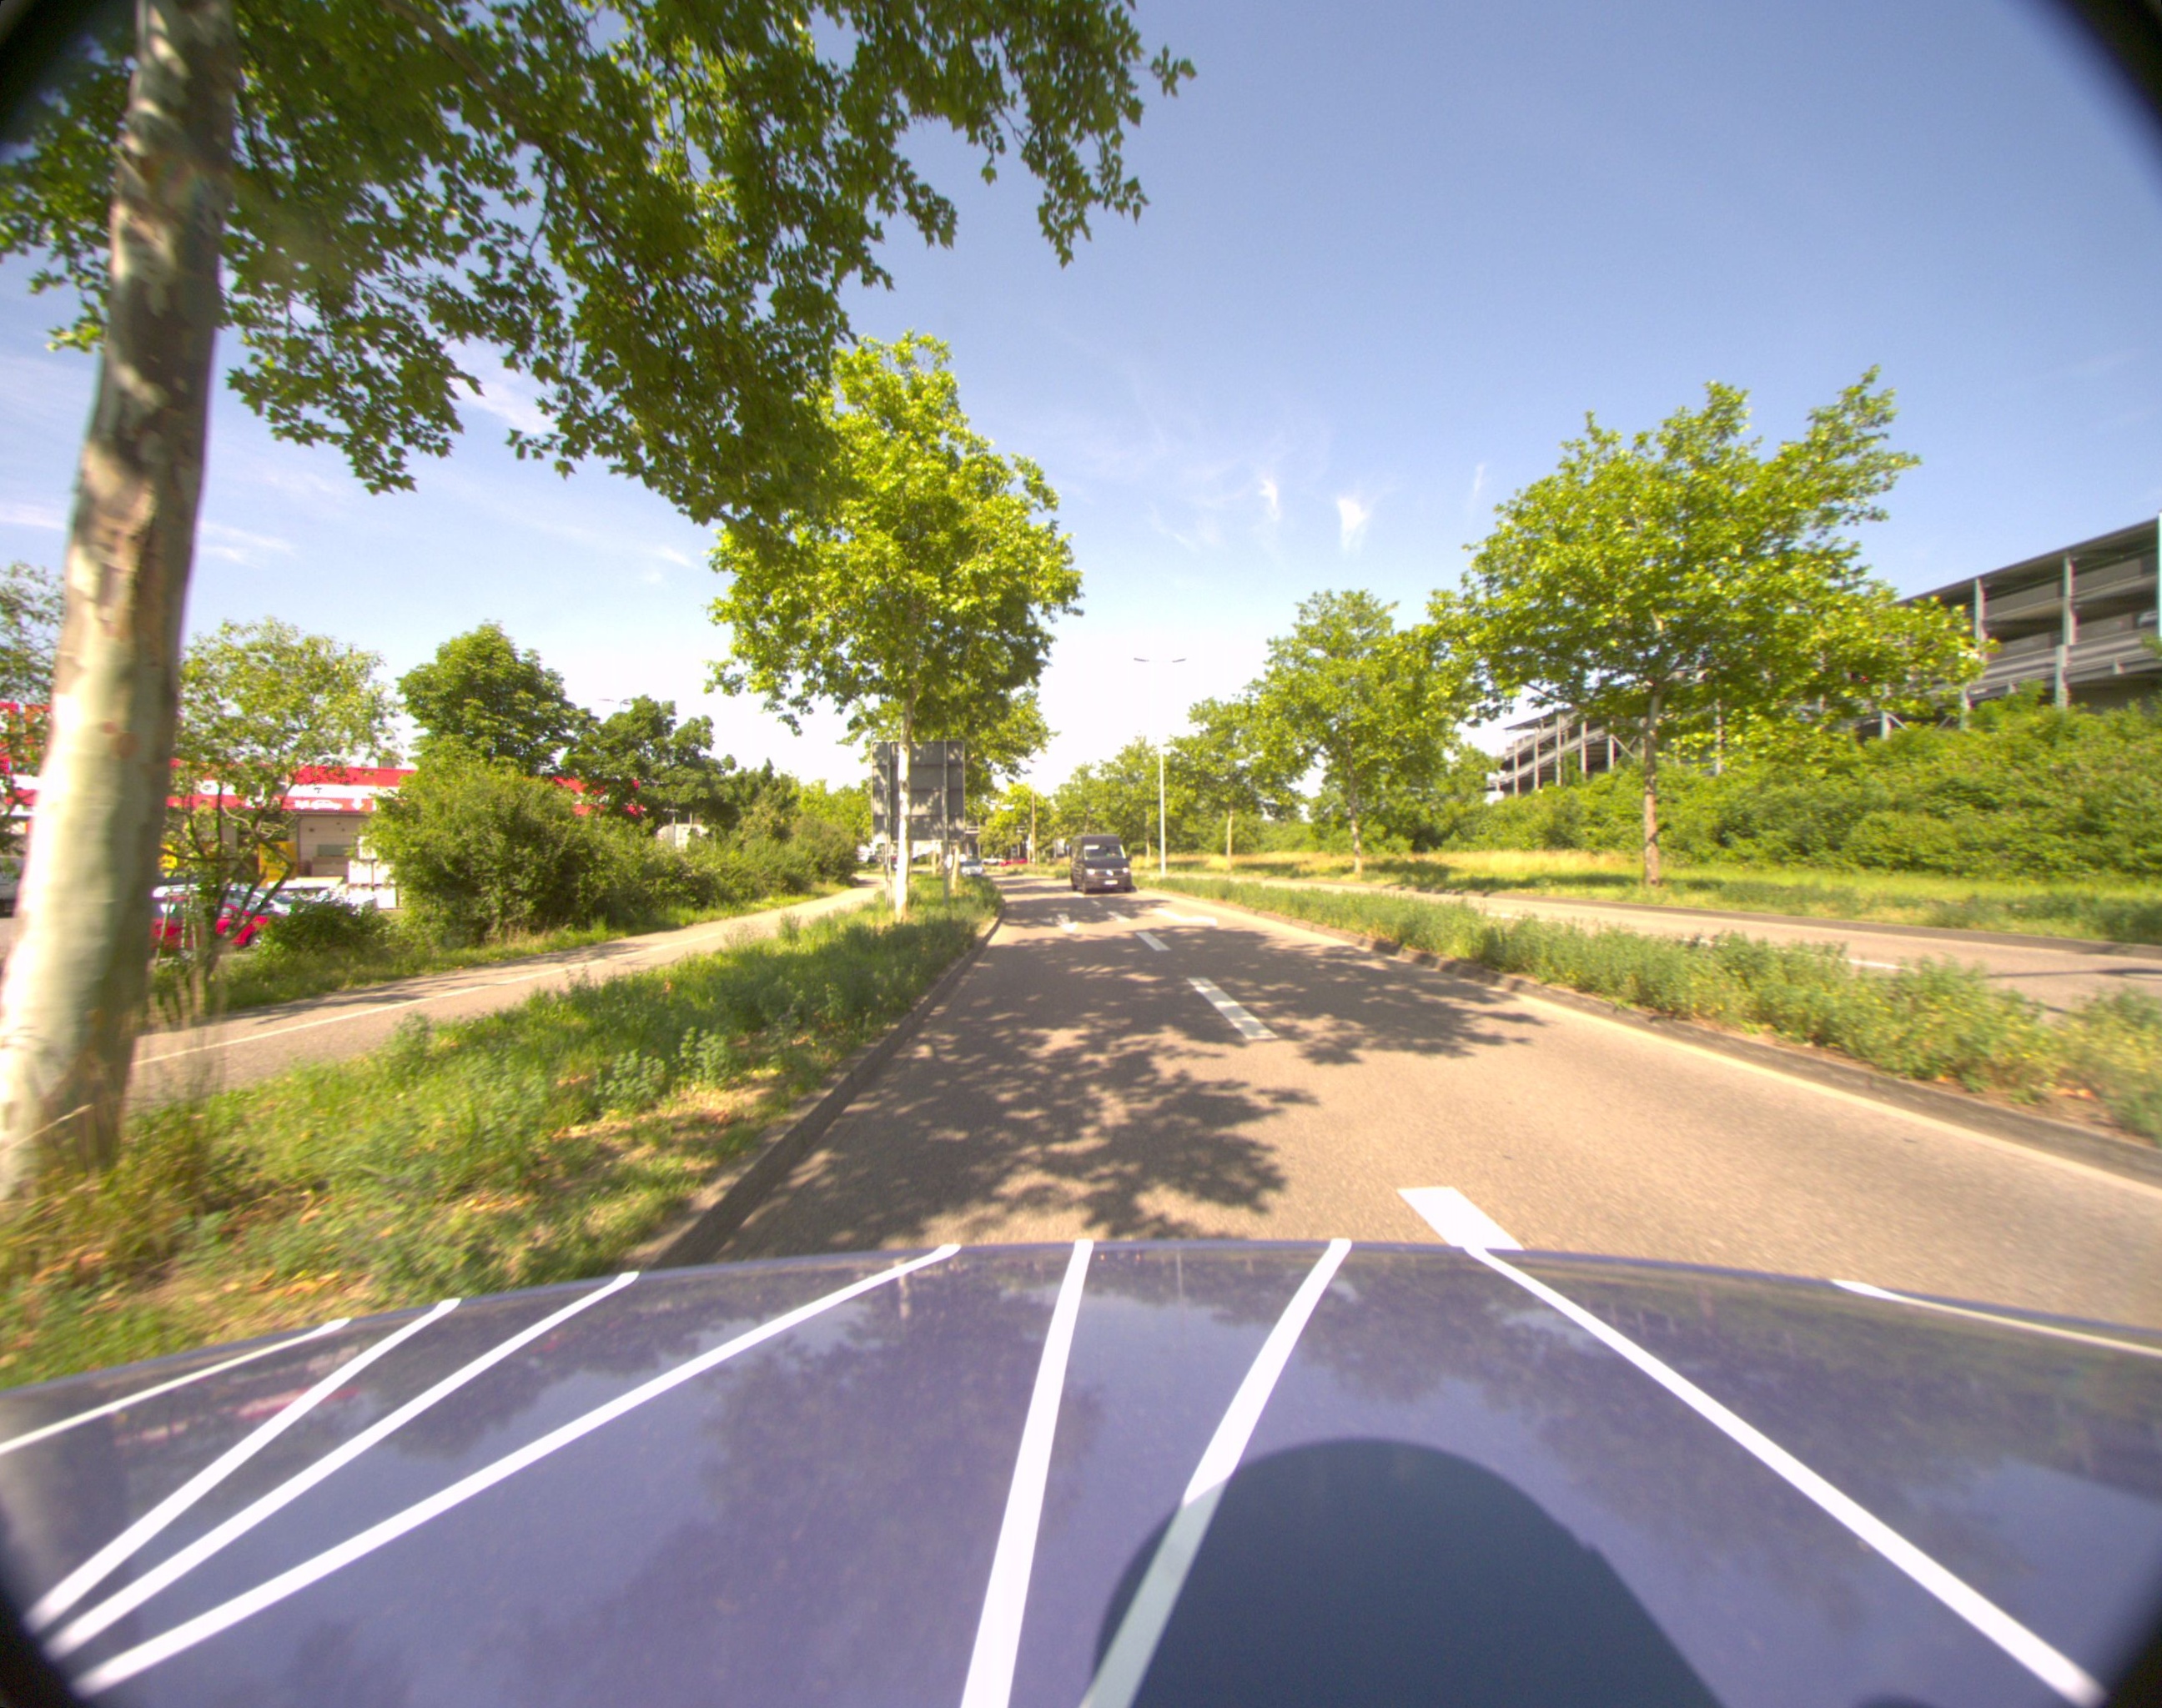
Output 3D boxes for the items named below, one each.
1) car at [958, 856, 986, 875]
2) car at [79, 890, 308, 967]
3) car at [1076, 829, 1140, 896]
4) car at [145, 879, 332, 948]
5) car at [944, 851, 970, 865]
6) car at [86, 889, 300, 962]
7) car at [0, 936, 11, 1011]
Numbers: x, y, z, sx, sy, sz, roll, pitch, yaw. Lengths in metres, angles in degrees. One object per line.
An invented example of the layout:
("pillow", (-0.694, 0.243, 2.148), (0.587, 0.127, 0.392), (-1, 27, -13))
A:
("car", (-9.539, 0.958, 66.475), (1.826, 1.512, 4.202), (-2, 1, -16))
("car", (-22.839, 1.860, 19.771), (3.494, 1.518, 1.597), (-3, 3, -34))
("car", (1.051, 0.314, 32.931), (2.022, 2.592, 6.165), (-2, 1, -4))
("car", (-24.047, 1.647, 21.861), (3.243, 1.602, 1.534), (-3, 3, -34))
("car", (-17.591, 0.584, 107.880), (2.003, 2.002, 4.505), (-2, 1, -33))
("car", (-22.864, 1.782, 19.757), (3.284, 1.652, 1.601), (1, -1, -33))
("car", (-19.514, 1.998, 11.693), (3.590, 1.216, 1.741), (0, 1, 0))
